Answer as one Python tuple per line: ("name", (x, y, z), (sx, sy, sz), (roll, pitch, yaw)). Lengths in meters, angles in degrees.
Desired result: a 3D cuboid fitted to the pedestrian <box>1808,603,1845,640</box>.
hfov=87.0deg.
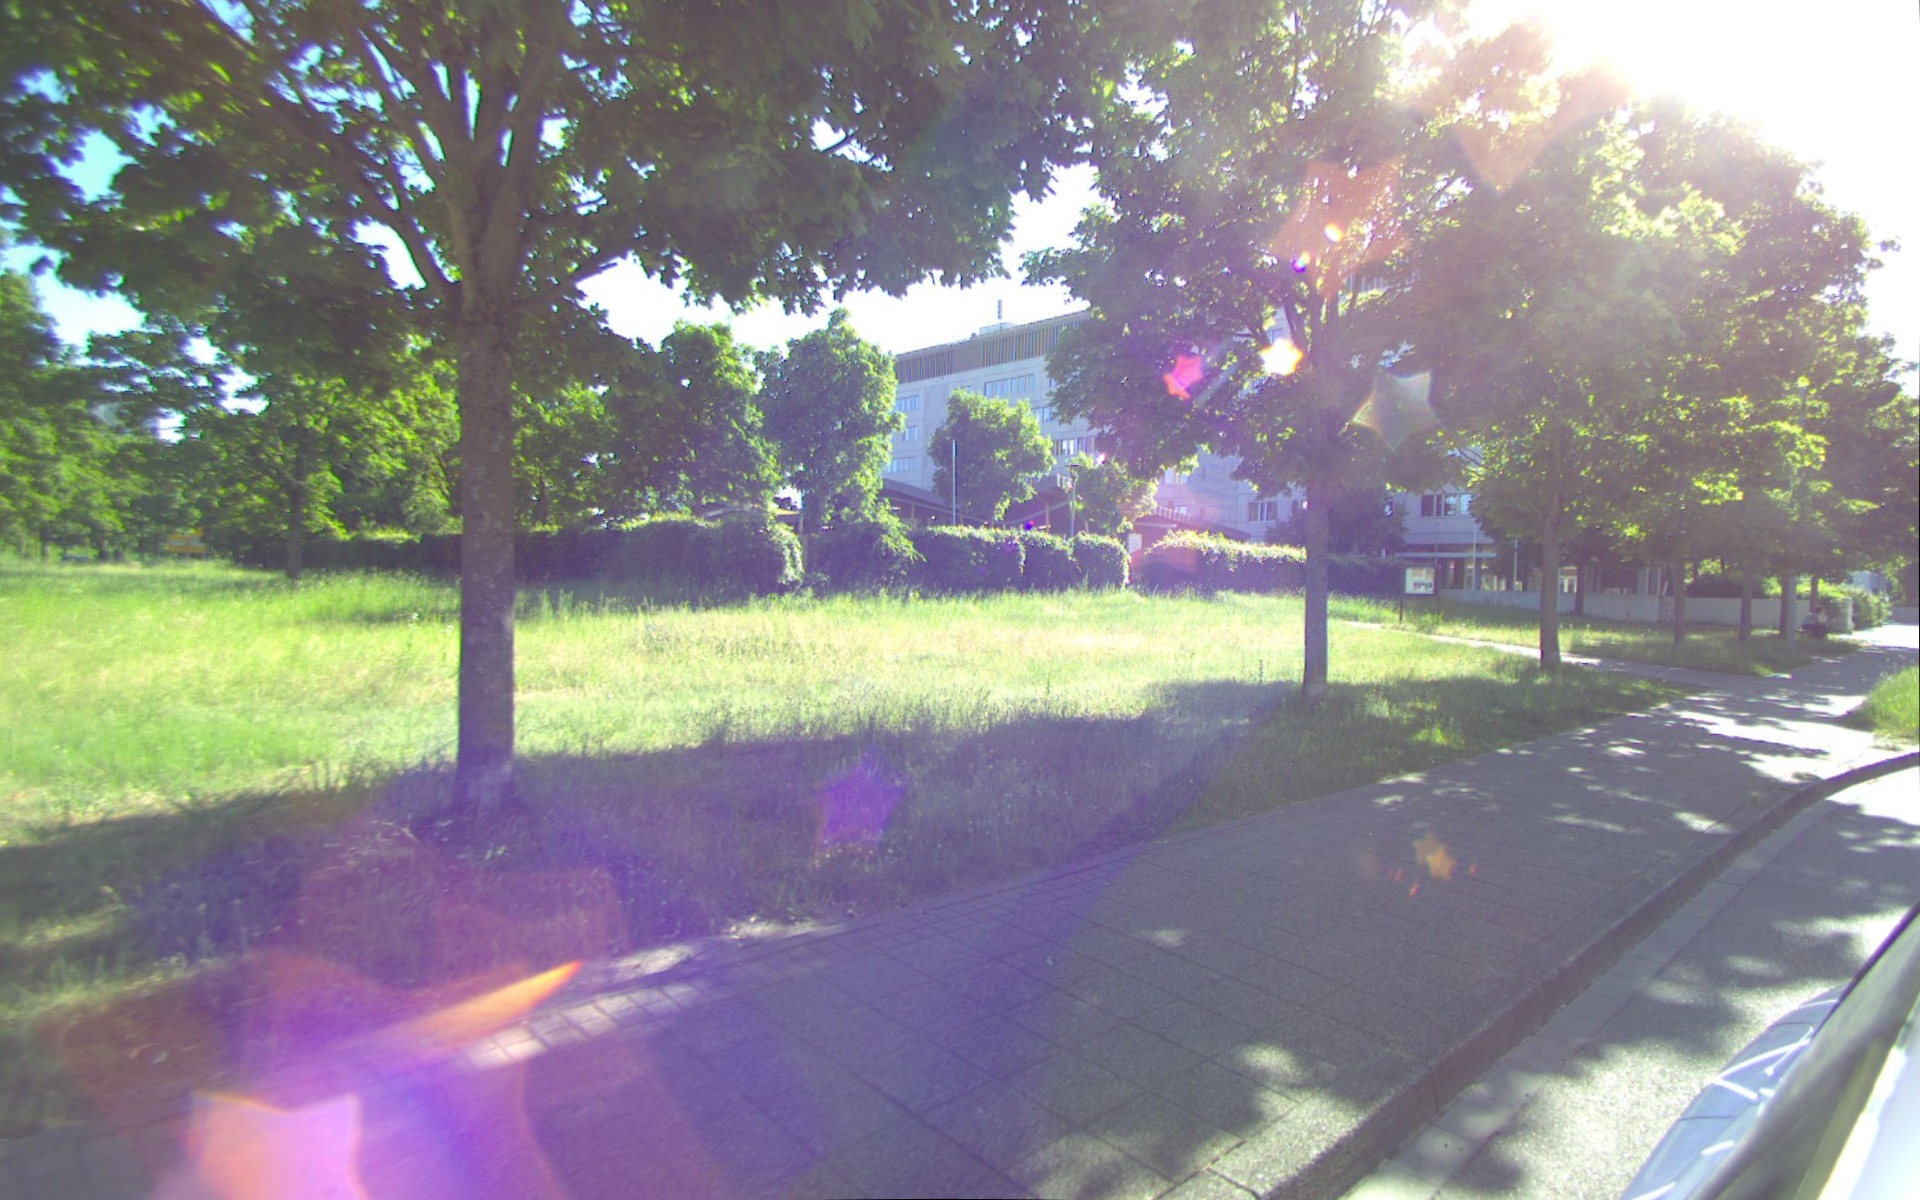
("pedestrian", (30.051, 0.730, 35.105), (0.842, 1.232, 0.719), (4, 2, 35))
